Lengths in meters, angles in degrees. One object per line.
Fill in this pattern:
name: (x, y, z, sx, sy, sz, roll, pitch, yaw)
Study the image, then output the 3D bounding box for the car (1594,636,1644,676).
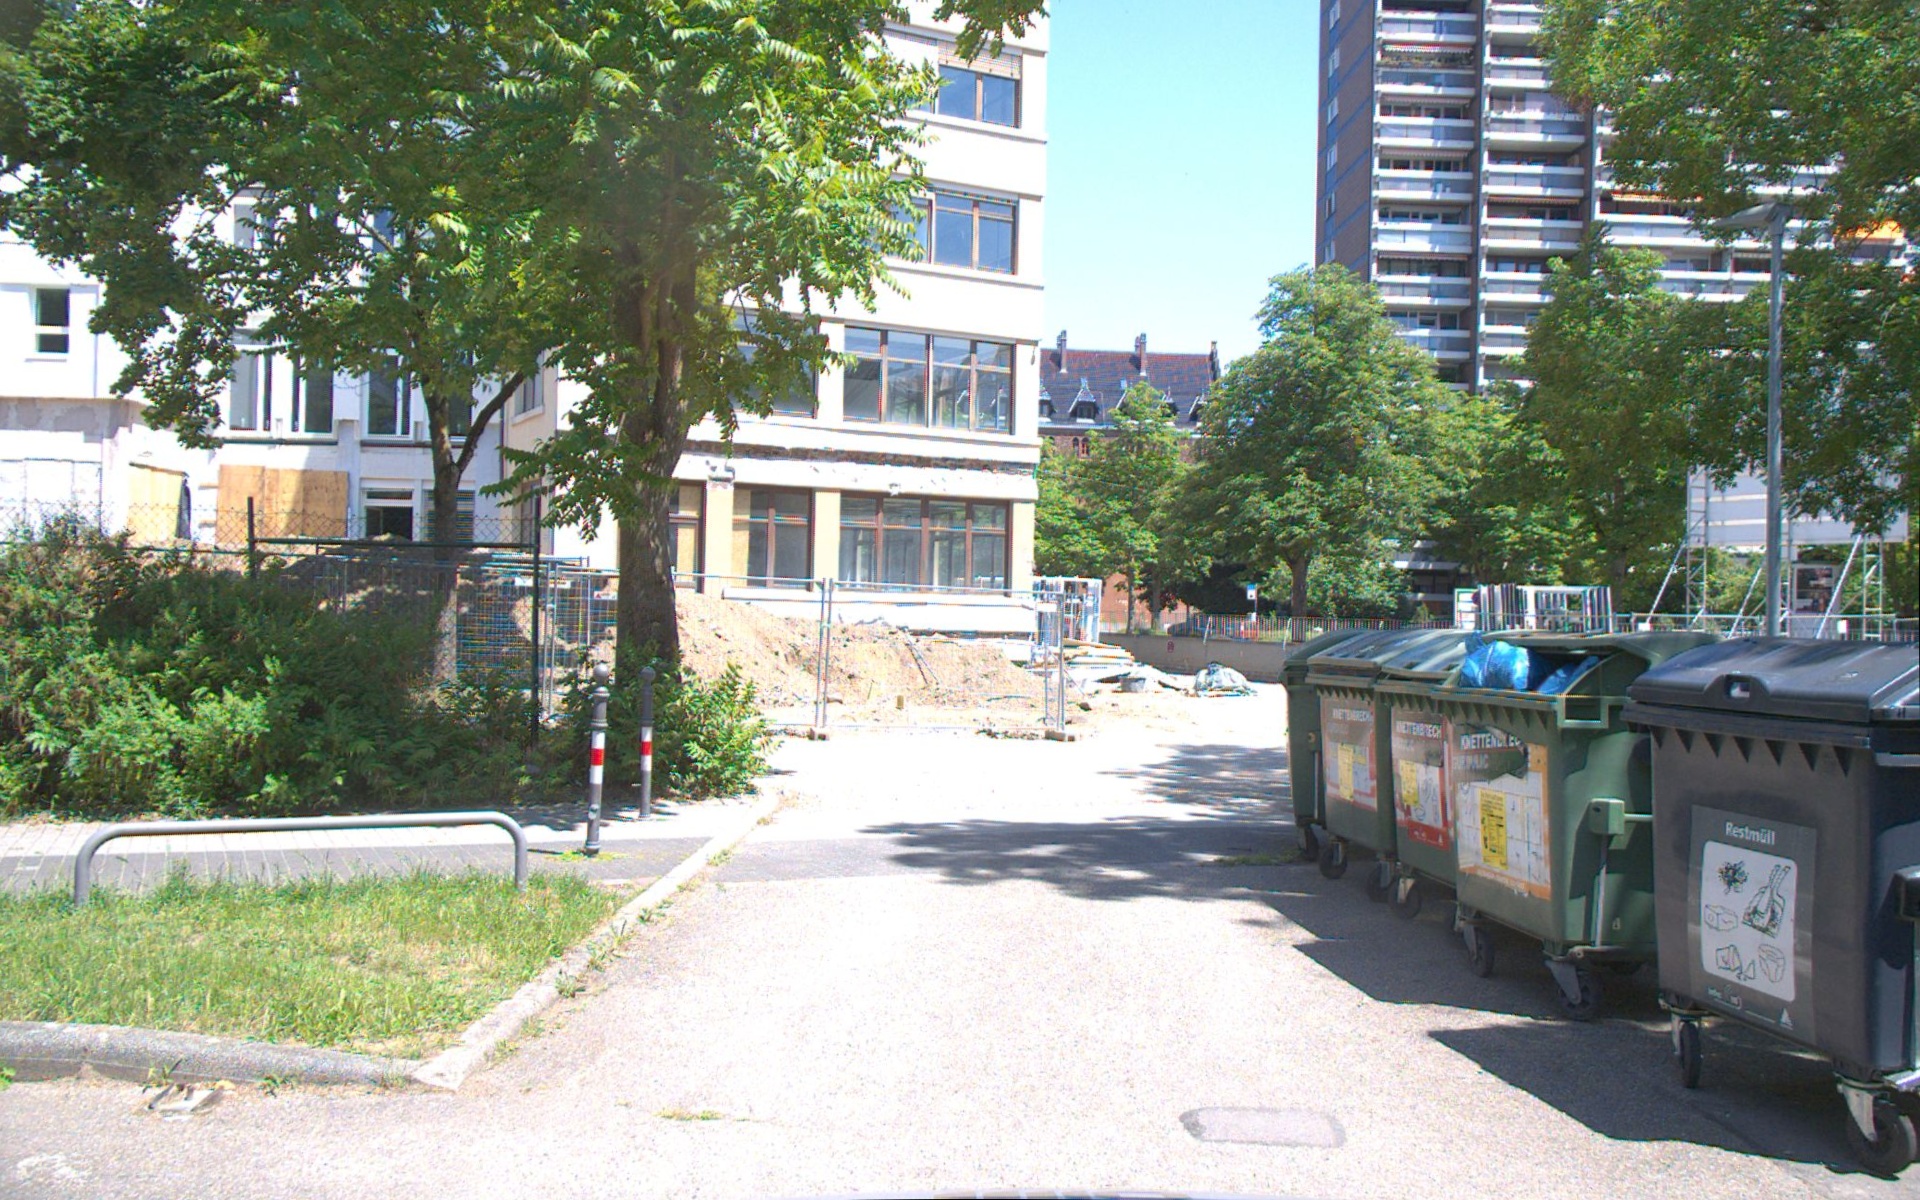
car: (24.756, 2.079, 62.215, 1.599, 1.411, 3.678, 1, -1, 20)

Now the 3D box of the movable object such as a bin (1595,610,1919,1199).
movable object such as a bin: (2.849, 0.822, 5.026, 1.133, 1.532, 1.459, 2, -1, -9)

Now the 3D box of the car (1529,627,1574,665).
car: (23.338, 1.802, 65.277, 1.599, 1.411, 3.678, 1, -1, 20)

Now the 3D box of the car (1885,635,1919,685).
car: (29.706, 1.822, 50.564, 1.598, 1.489, 3.680, 1, -1, 14)

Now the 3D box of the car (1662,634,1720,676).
car: (26.085, 1.950, 59.109, 1.599, 1.411, 3.678, 1, -1, 20)

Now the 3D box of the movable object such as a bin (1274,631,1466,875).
movable object such as a bin: (2.722, 0.978, 11.123, 1.154, 1.495, 1.334, 1, -2, 11)

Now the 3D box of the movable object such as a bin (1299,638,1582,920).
movable object such as a bin: (2.735, 0.985, 9.583, 1.156, 1.495, 1.310, 2, -1, -5)

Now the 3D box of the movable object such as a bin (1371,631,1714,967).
movable object such as a bin: (2.807, 0.917, 8.144, 1.155, 1.495, 1.310, 2, -1, -4)

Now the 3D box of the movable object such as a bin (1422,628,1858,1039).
movable object such as a bin: (2.705, 0.882, 6.759, 1.156, 1.495, 1.310, 2, -1, -6)
